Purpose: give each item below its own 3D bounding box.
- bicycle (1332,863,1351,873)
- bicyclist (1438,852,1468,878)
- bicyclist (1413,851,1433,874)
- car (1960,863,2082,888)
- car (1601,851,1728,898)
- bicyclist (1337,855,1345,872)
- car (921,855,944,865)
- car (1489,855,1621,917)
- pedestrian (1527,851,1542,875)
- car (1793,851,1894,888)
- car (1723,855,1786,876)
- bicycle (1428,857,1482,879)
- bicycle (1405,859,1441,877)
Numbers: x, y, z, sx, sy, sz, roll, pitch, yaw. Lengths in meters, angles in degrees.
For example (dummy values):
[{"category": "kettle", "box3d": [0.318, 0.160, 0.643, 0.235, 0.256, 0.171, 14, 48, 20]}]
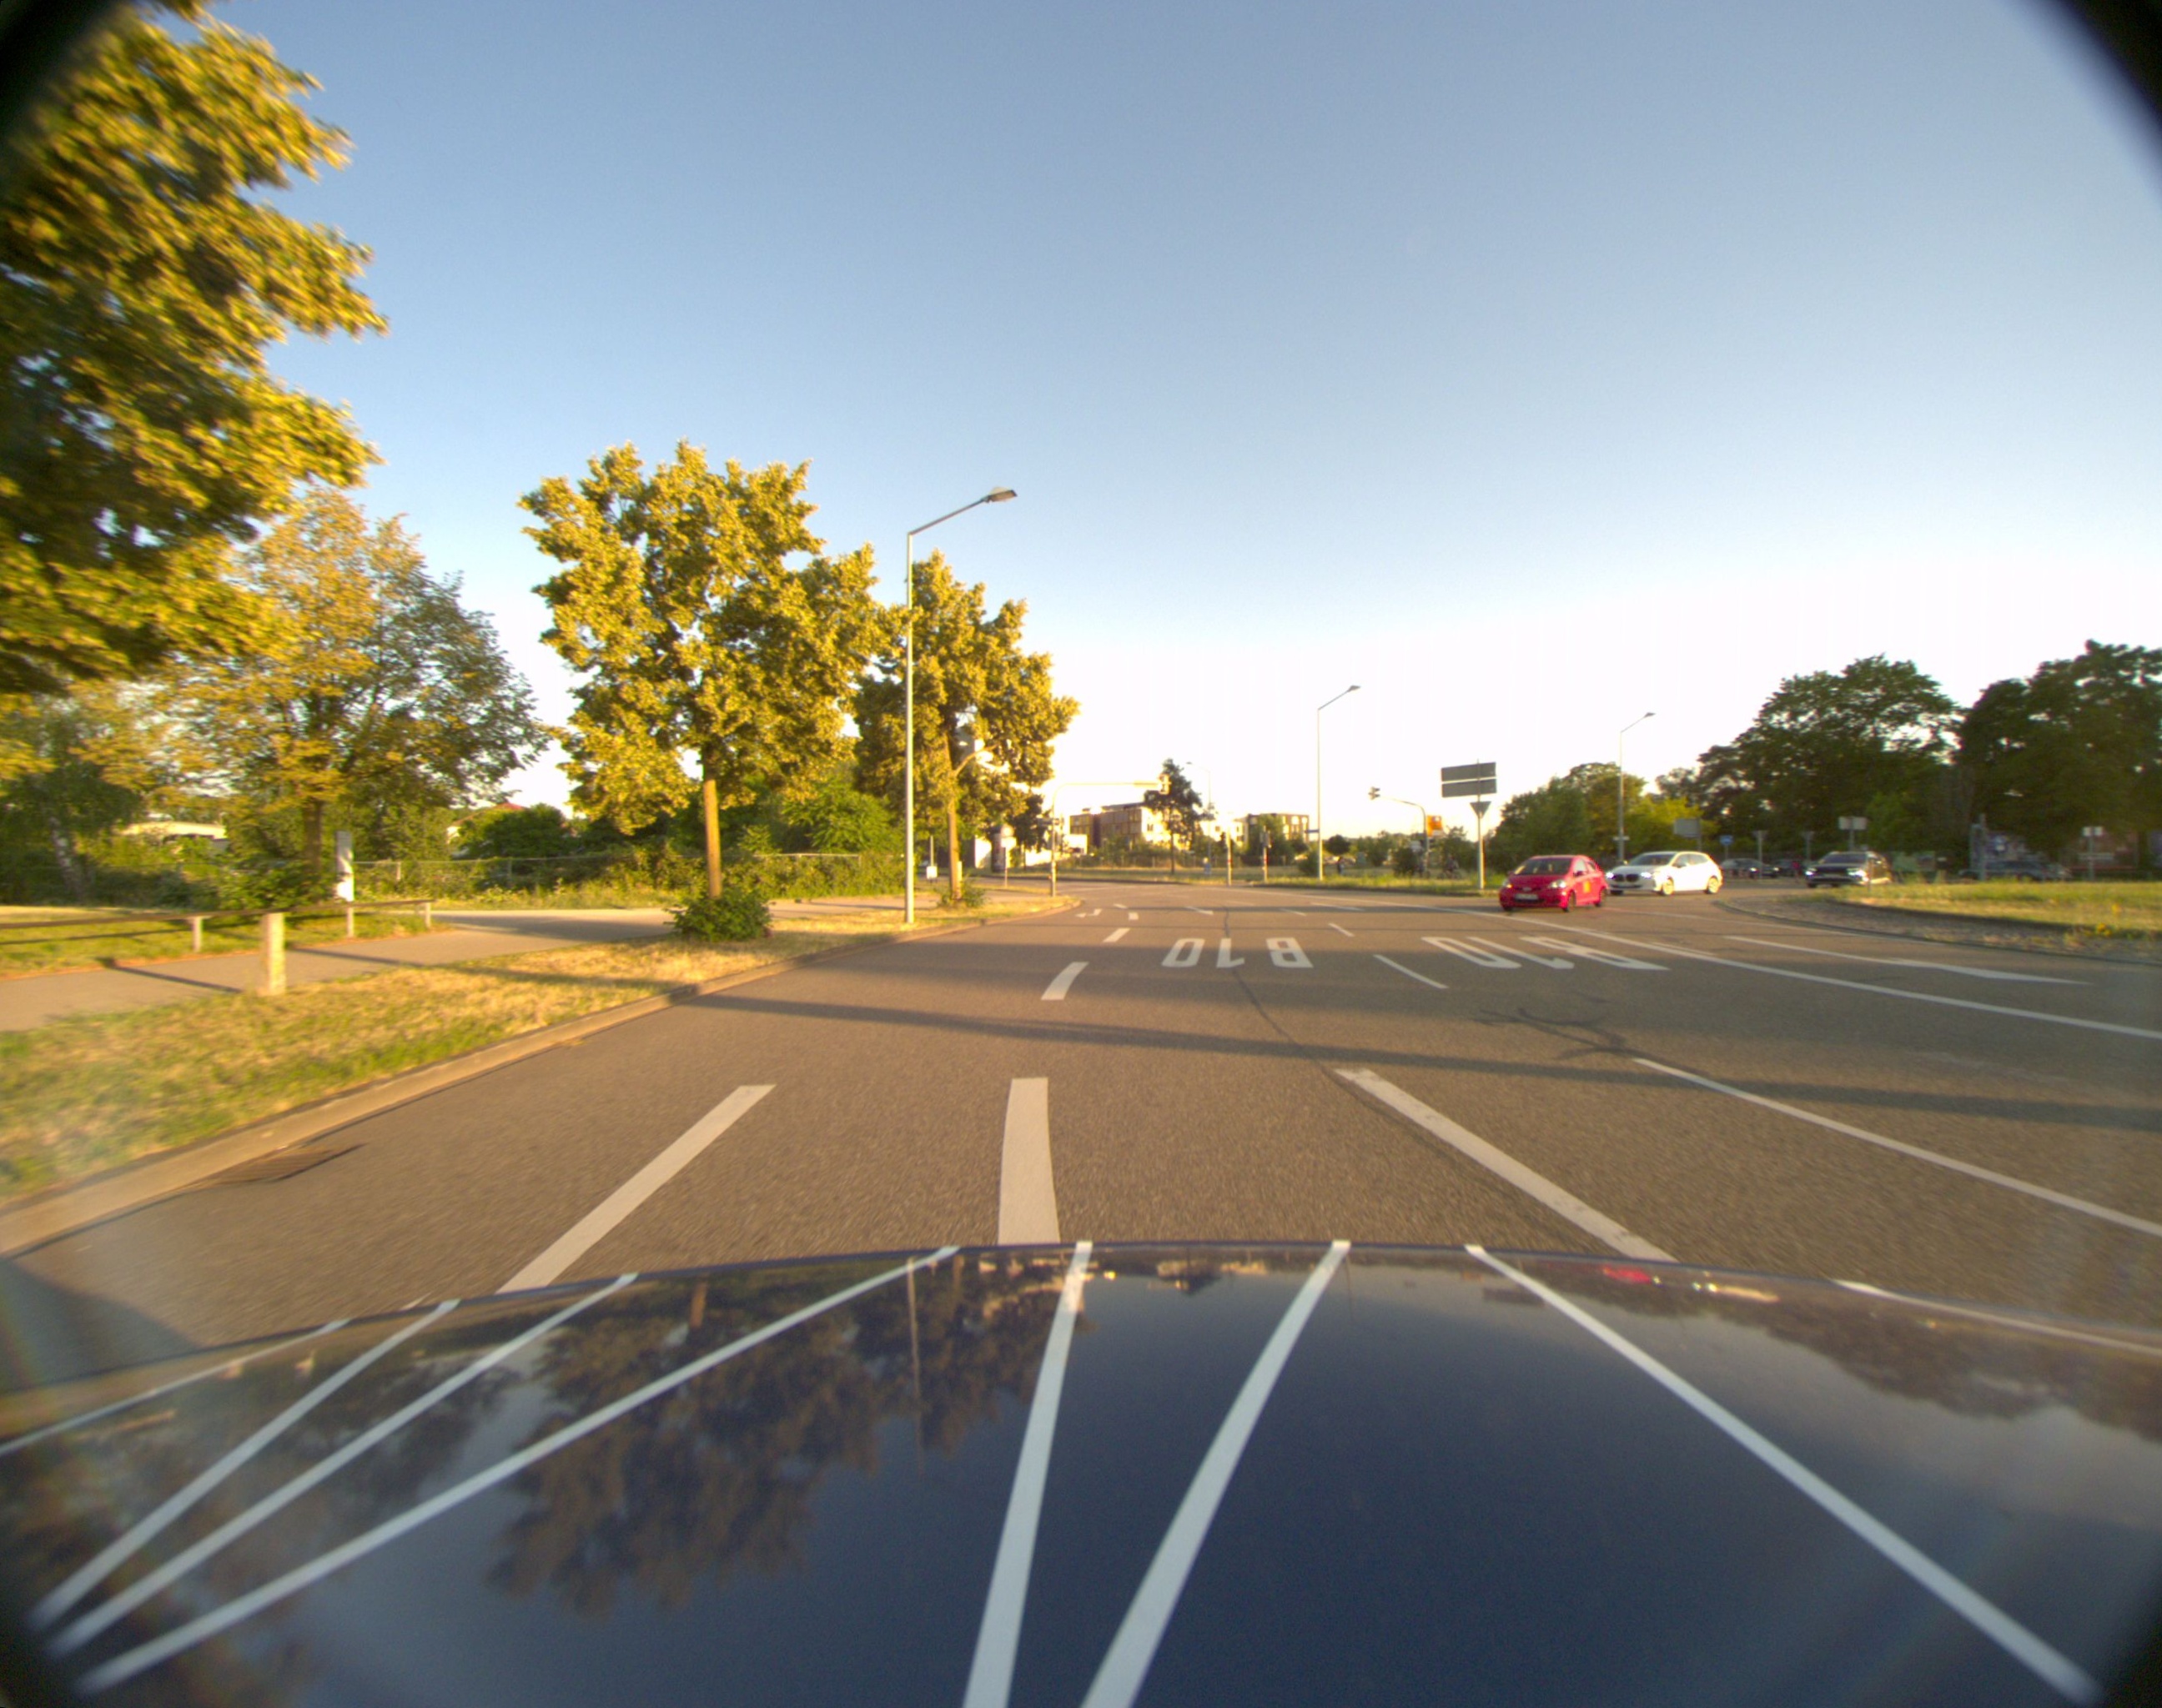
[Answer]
[{"category": "bicycle", "box3d": [21.184, 1.163, 61.858, 0.475, 0.787, 1.415, -1, 0, -41]}, {"category": "bicyclist", "box3d": [25.310, 0.726, 51.730, 1.418, 1.739, 1.122, 0, 1, -19]}, {"category": "bicyclist", "box3d": [23.849, 0.573, 53.044, 1.001, 1.623, 0.809, 0, 1, -16]}, {"category": "car", "box3d": [57.679, 1.308, 46.749, 1.944, 1.423, 4.401, 0, 0, -5]}, {"category": "car", "box3d": [20.822, 0.687, 27.106, 4.220, 1.549, 1.757, 0, 0, -24]}, {"category": "bicyclist", "box3d": [21.186, 0.744, 61.837, 0.475, 1.389, 0.447, -1, 0, -41]}, {"category": "car", "box3d": [-22.489, 0.913, 114.904, 2.004, 1.538, 4.120, 0, 0, -34]}, {"category": "car", "box3d": [12.687, 0.781, 20.244, 4.219, 1.413, 1.690, -2, 1, -39]}, {"category": "pedestrian", "box3d": [32.159, 0.651, 53.837, 0.888, 1.691, 0.722, 0, 0, 33]}, {"category": "car", "box3d": [34.006, 0.647, 33.875, 4.220, 1.549, 1.825, 0, 0, -25]}, {"category": "car", "box3d": [50.571, 0.864, 57.118, 1.838, 1.492, 4.260, 0, 0, 15]}, {"category": "bicycle", "box3d": [25.419, 0.933, 51.613, 3.542, 1.387, 1.122, 0, 1, -19]}, {"category": "bicycle", "box3d": [23.868, 0.962, 53.073, 2.330, 1.172, 0.809, 0, 1, -16]}]
